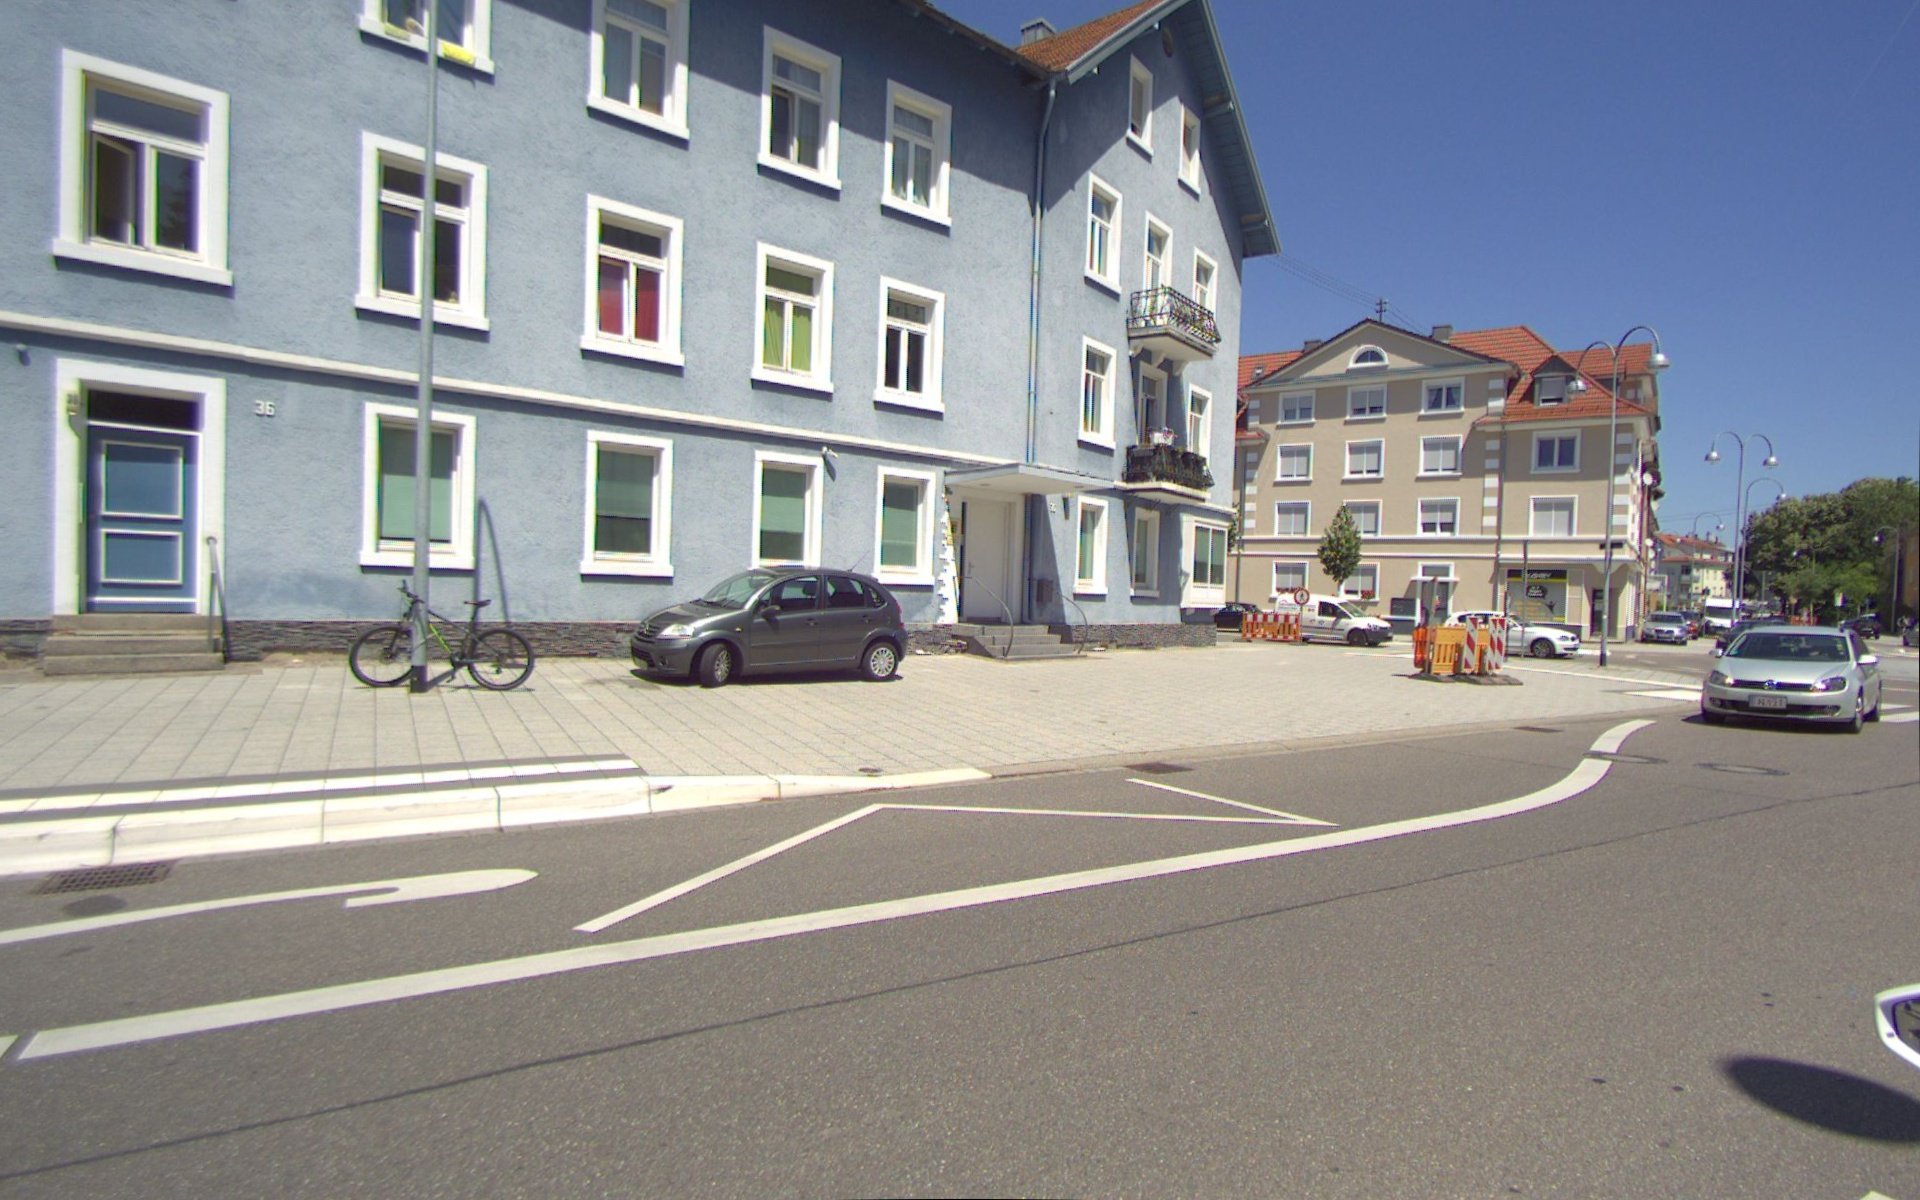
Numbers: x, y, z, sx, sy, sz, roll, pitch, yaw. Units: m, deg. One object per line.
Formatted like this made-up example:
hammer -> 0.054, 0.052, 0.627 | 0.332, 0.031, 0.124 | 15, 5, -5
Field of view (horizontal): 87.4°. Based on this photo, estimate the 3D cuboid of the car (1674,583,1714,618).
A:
car -> 57.277, 0.076, 78.478 | 2.115, 2.566, 4.842 | 4, 2, 33

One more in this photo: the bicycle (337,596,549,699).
bicycle -> -5.486, 0.521, 10.753 | 1.948, 0.990, 0.494 | 3, 4, -27

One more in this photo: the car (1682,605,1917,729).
car -> 12.829, 0.961, 15.268 | 4.354, 1.549, 1.825 | -1, -4, -39

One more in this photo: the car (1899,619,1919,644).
car -> 60.099, 1.999, 62.277 | 1.786, 1.520, 3.992 | 4, 1, 30

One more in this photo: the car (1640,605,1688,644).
car -> 33.411, 1.147, 47.669 | 1.752, 1.708, 4.678 | 2, 1, 35

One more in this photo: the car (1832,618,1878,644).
car -> 68.131, 2.308, 76.520 | 1.786, 1.818, 3.992 | 4, 1, 30

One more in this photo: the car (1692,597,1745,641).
car -> 48.401, 1.179, 64.238 | 2.115, 2.566, 6.220 | 4, 2, 33

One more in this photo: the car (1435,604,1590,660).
car -> 18.098, 1.008, 33.042 | 1.774, 1.572, 4.076 | 2, 1, -42

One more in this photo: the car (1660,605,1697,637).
car -> 40.832, 1.197, 57.109 | 1.577, 1.638, 4.077 | 5, 2, 35

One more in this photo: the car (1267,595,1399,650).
car -> 13.755, 0.791, 37.141 | 4.181, 1.801, 1.772 | 3, 1, 41

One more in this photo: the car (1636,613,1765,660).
car -> 28.967, 1.384, 39.451 | 1.636, 1.472, 4.012 | -2, 2, -13

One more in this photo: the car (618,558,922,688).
car -> -2.525, 0.340, 13.742 | 3.741, 1.554, 1.566 | 3, 0, -38
